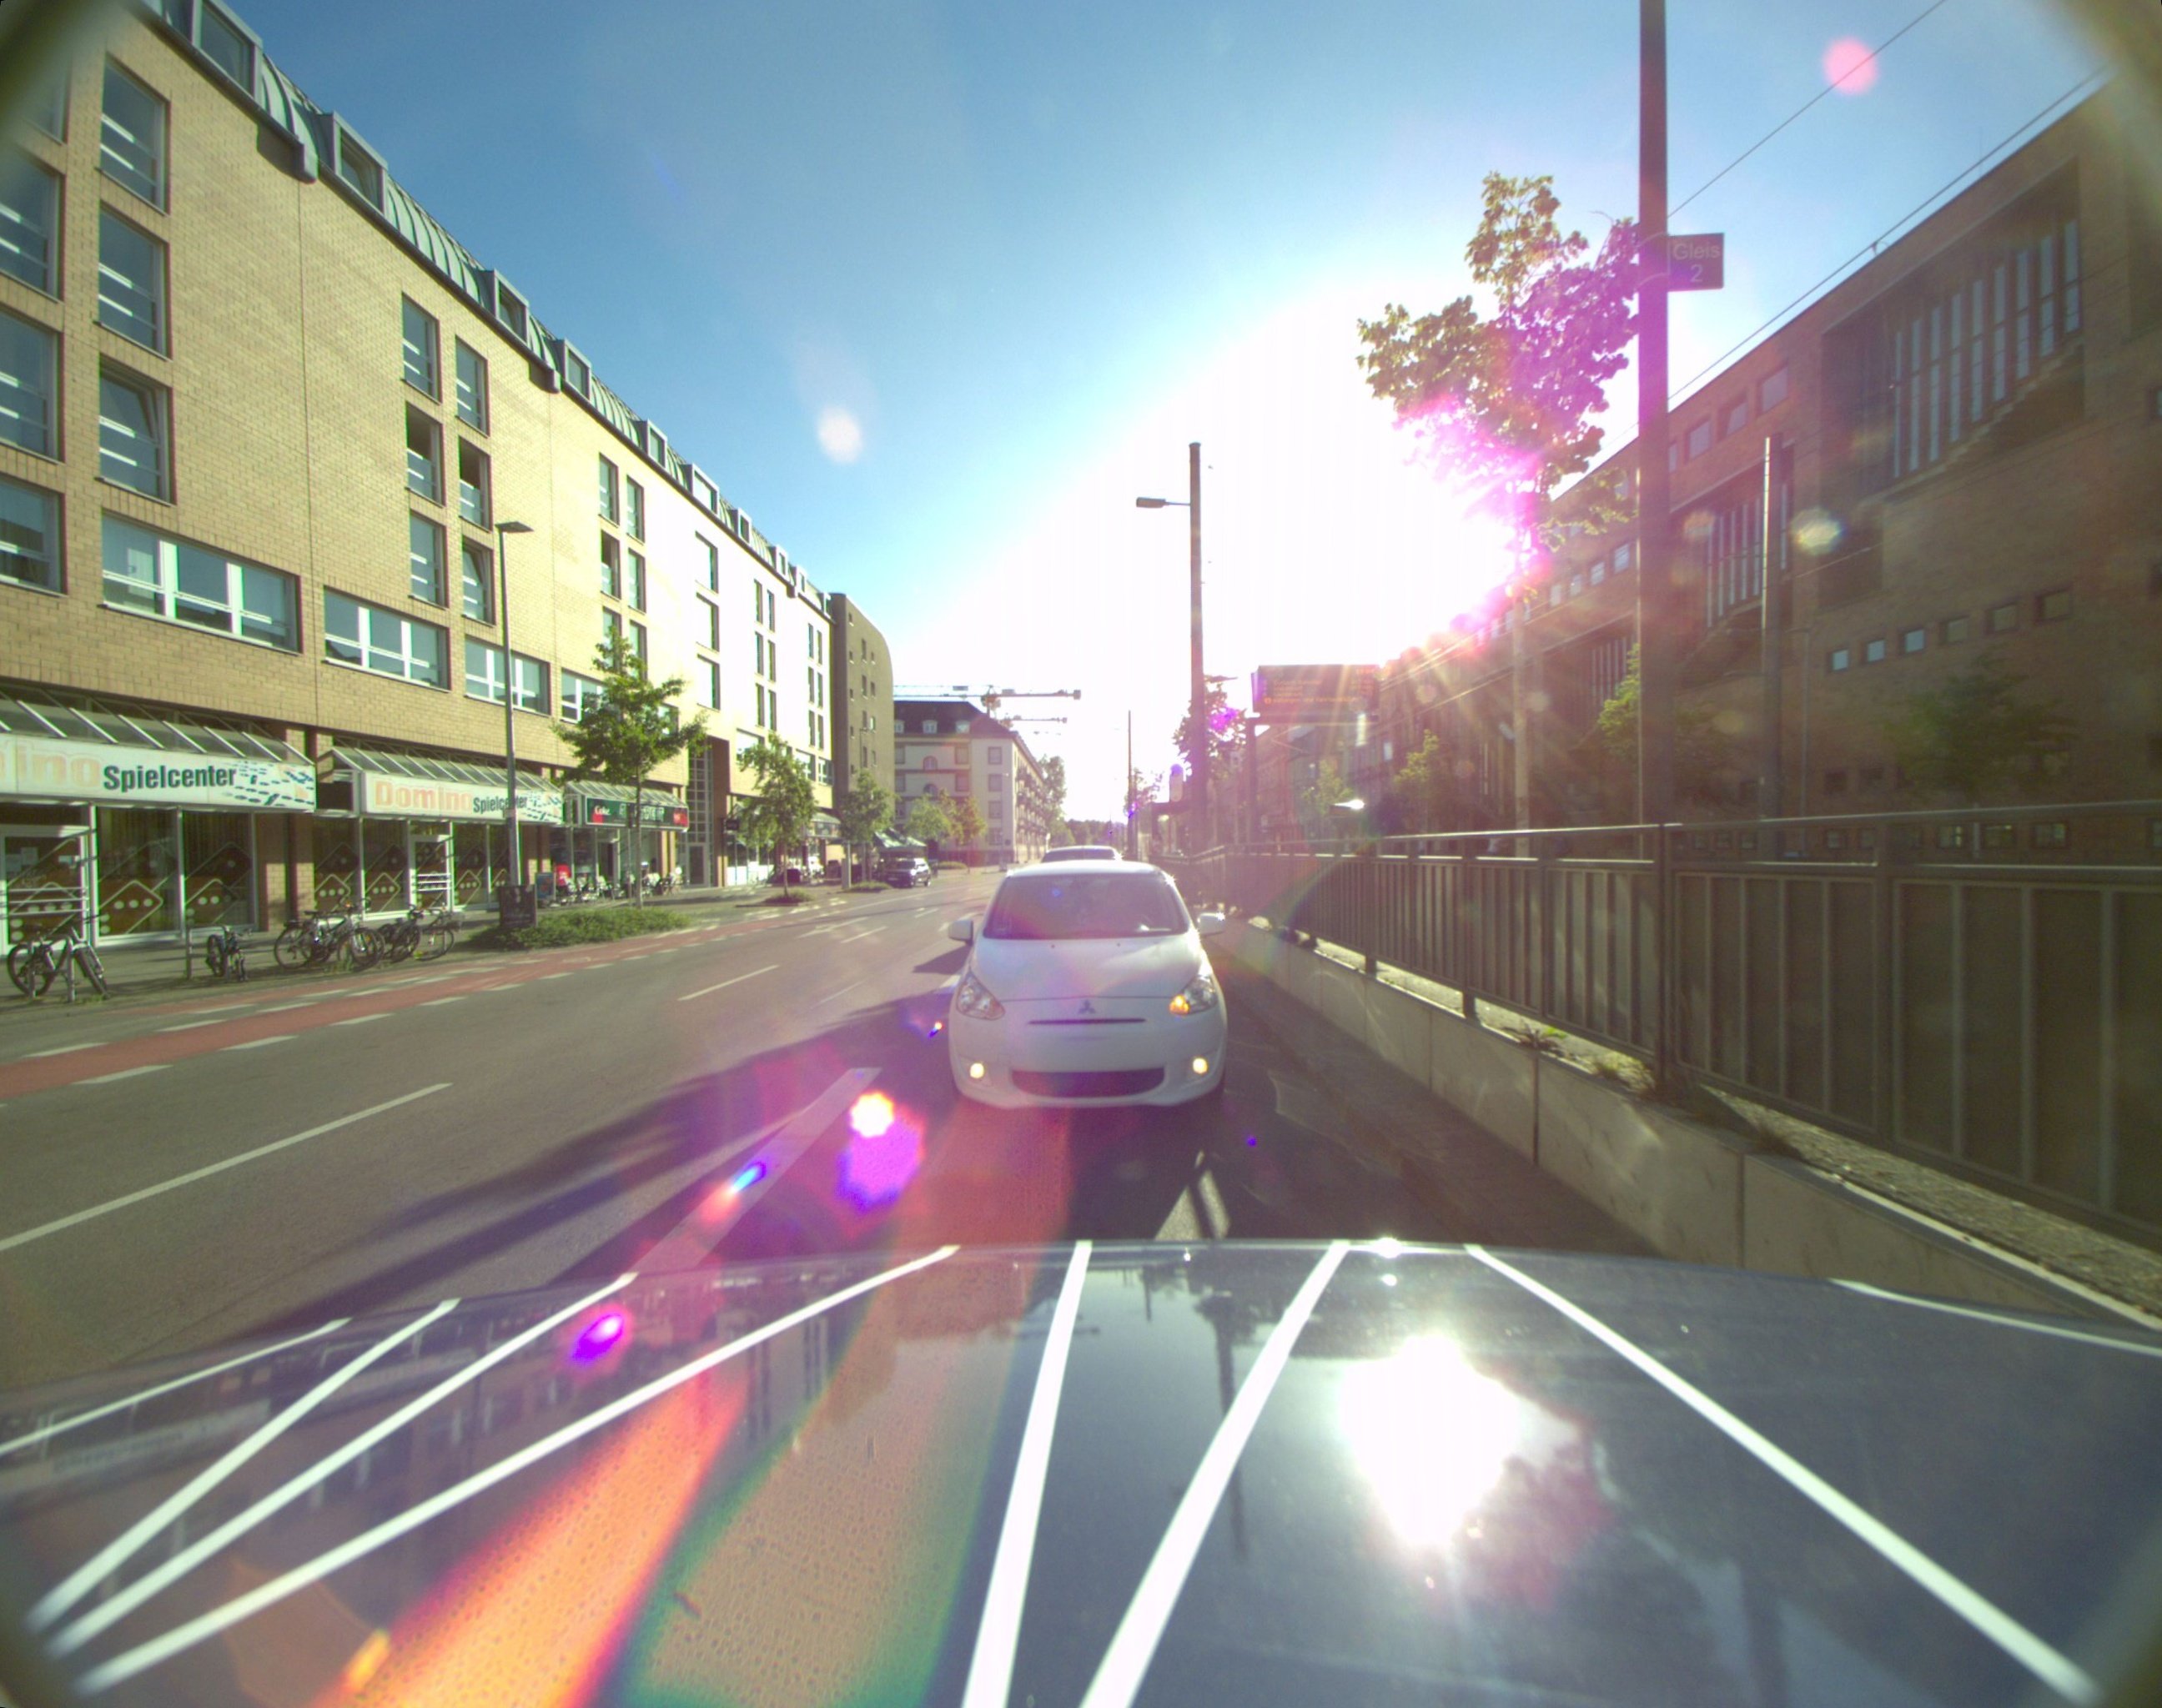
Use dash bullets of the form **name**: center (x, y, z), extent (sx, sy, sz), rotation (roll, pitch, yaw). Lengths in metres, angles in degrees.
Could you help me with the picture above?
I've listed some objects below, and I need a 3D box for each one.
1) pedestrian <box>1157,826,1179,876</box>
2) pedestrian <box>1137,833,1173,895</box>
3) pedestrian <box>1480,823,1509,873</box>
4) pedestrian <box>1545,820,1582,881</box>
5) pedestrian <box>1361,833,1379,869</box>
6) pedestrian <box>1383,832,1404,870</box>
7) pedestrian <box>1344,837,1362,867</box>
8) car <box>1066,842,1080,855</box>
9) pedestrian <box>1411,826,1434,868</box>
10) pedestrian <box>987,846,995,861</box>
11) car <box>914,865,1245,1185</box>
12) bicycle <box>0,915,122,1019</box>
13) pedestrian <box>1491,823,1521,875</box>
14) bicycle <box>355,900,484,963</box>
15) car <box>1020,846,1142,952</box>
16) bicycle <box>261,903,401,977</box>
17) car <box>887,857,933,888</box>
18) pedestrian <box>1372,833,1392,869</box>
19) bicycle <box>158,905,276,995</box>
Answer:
- **pedestrian**: center (3.559, -0.140, 31.060), extent (0.784, 2.002, 0.880), rotation (-1, 1, 1)
- **pedestrian**: center (2.426, 0.319, 24.990), extent (0.782, 2.002, 0.882), rotation (0, 1, 42)
- **pedestrian**: center (14.446, -0.199, 26.556), extent (0.692, 1.732, 0.586), rotation (-1, 1, -2)
- **pedestrian**: center (13.951, -0.099, 21.974), extent (0.692, 1.732, 0.586), rotation (-1, 1, -2)
- **pedestrian**: center (14.297, -0.151, 37.593), extent (0.692, 1.732, 0.586), rotation (-1, 1, -2)
- **pedestrian**: center (14.342, -0.152, 34.913), extent (0.692, 1.732, 0.586), rotation (-1, 1, -2)
- **pedestrian**: center (14.408, -0.086, 40.265), extent (0.692, 1.566, 0.586), rotation (-1, 1, -2)
- **car**: center (-0.993, -0.686, 97.835), extent (1.829, 1.644, 3.682), rotation (-1, 0, 0)
- **pedestrian**: center (14.435, -0.287, 32.166), extent (0.692, 1.732, 0.586), rotation (-1, 1, -2)
- **pedestrian**: center (-10.434, -0.047, 88.173), extent (0.804, 1.656, 0.891), rotation (-1, 1, -7)
- **car**: center (0.020, 0.911, 5.976), extent (1.640, 1.458, 4.185), rotation (-2, 1, 1)
- **bicycle**: center (-13.367, 1.432, 9.895), extent (1.771, 1.142, 0.554), rotation (1, 2, 21)
- **pedestrian**: center (14.465, -0.180, 25.874), extent (0.692, 1.732, 0.586), rotation (-1, 1, -2)
- **bicycle**: center (-12.283, 1.432, 14.142), extent (1.774, 1.065, 0.737), rotation (0, 2, 3)
- **car**: center (0.031, 0.726, 14.707), extent (1.955, 1.652, 4.355), rotation (-2, 1, 1)
- **bicycle**: center (-12.340, 1.403, 12.526), extent (1.774, 1.135, 0.553), rotation (0, 2, 3)
- **car**: center (-9.628, 1.022, 43.028), extent (1.655, 1.521, 3.692), rotation (-2, 1, 1)
- **pedestrian**: center (14.425, -0.151, 36.415), extent (0.692, 1.732, 0.586), rotation (-1, 1, -2)
- **bicycle**: center (-12.807, 1.389, 11.263), extent (1.771, 1.142, 0.554), rotation (1, 2, 21)
